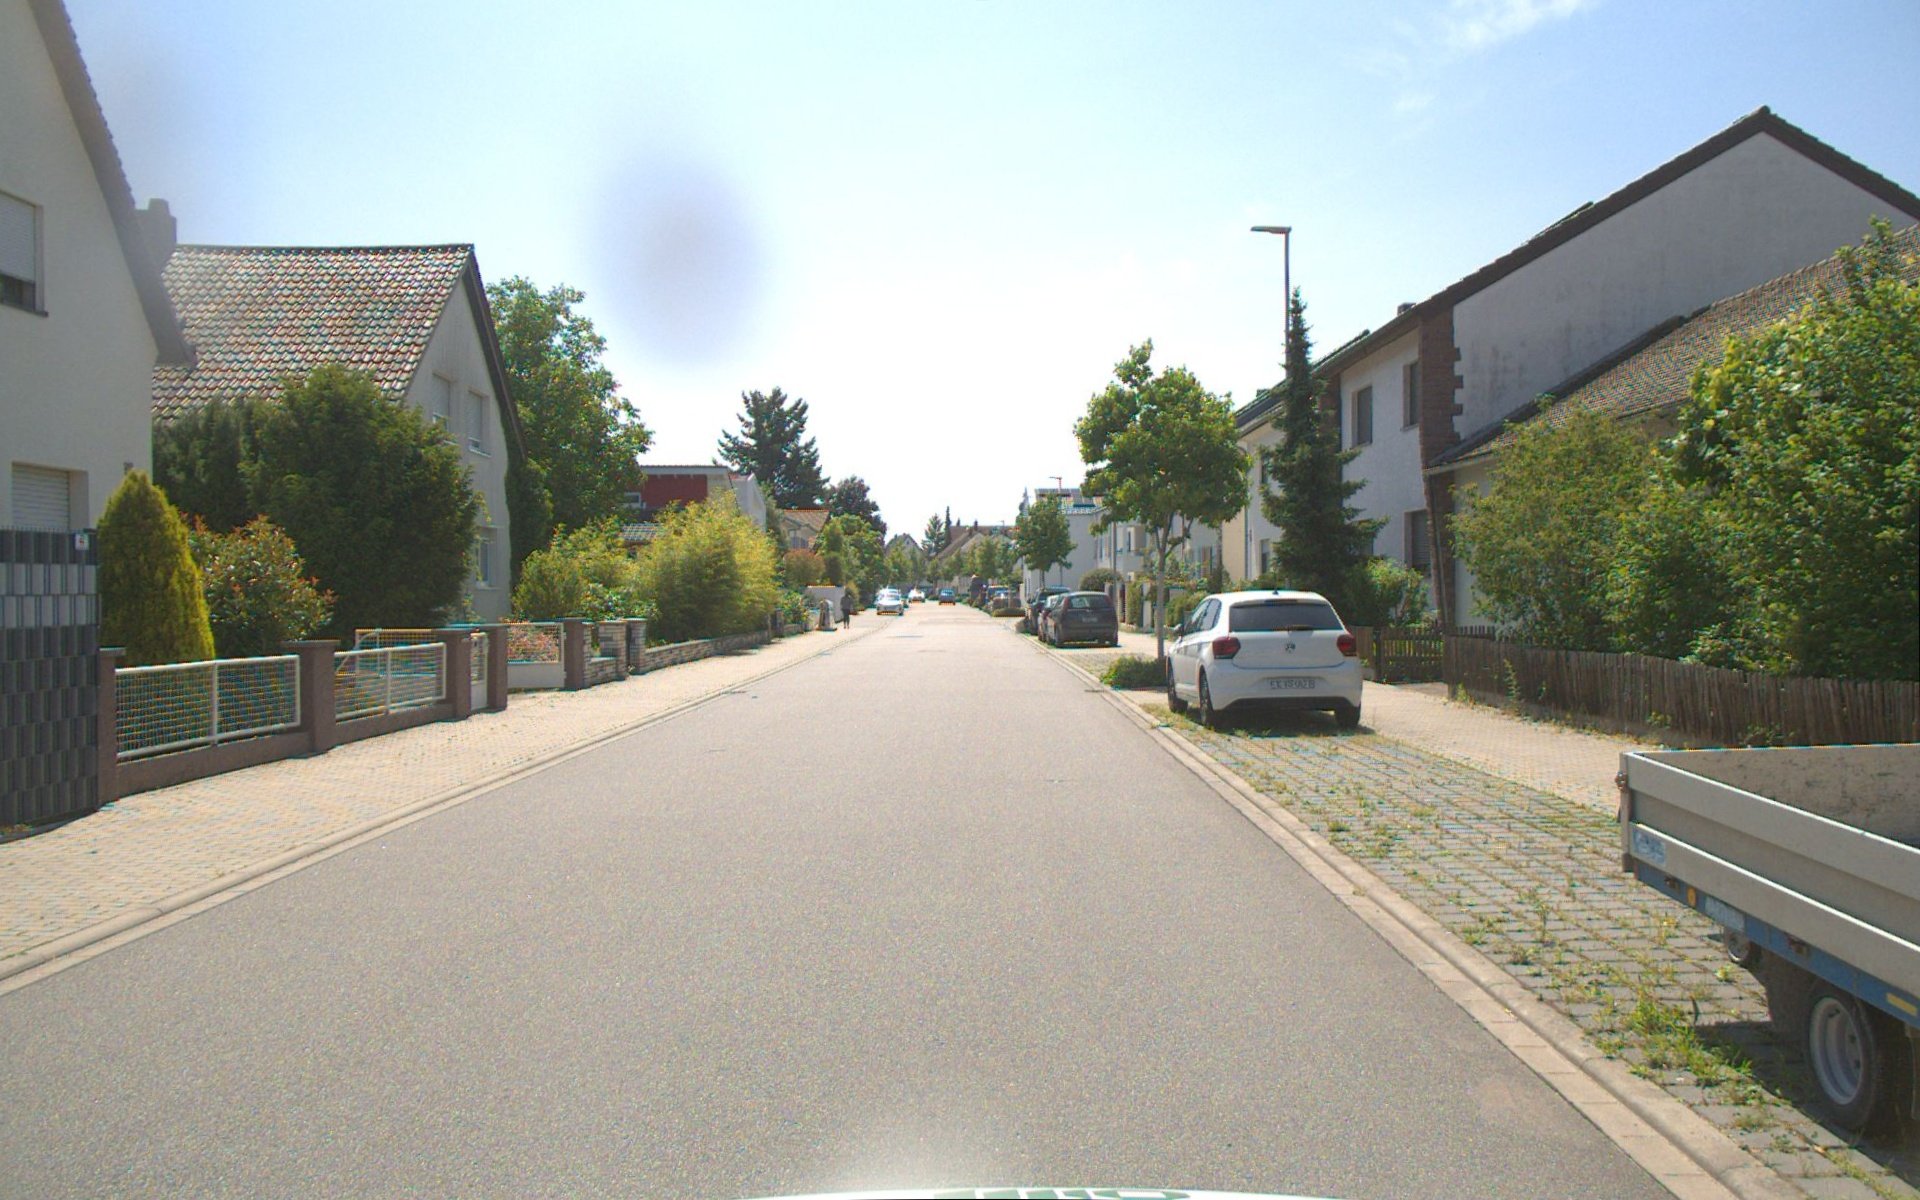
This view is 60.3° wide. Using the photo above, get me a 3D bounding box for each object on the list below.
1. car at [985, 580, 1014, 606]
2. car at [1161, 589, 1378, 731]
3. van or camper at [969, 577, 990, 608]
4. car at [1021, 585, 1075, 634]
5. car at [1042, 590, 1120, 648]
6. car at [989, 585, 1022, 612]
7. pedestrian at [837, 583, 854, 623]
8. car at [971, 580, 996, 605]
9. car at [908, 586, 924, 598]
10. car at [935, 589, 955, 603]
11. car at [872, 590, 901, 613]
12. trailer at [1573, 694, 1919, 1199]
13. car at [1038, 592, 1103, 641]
[{"bbox_3d":[2.862,-0.520,121.729,2.056,1.915,4.843,-1,0,0],"label":"car"},{"bbox_3d":[3.438,0.609,19.046,1.777,1.445,3.868,-1,0,0],"label":"car"},{"bbox_3d":[1.901,-0.756,160.834,1.953,2.993,3.999,-1,0,-1],"label":"van or camper"},{"bbox_3d":[3.257,0.318,61.668,1.777,1.685,4.564,-1,1,0],"label":"car"},{"bbox_3d":[3.355,0.496,46.582,1.706,1.560,4.447,0,0,-2],"label":"car"},{"bbox_3d":[2.878,-0.105,105.084,1.738,1.623,4.277,0,0,-3],"label":"car"},{"bbox_3d":[-5.128,0.149,74.021,0.700,1.777,0.961,0,0,0],"label":"pedestrian"},{"bbox_3d":[1.918,-0.595,136.372,1.953,1.981,5.214,-1,0,0],"label":"car"},{"bbox_3d":[-5.306,-0.964,200.168,1.814,1.504,4.700,0,0,1],"label":"car"},{"bbox_3d":[-1.504,-0.412,168.720,1.952,1.455,4.001,0,0,1],"label":"car"},{"bbox_3d":[-4.993,0.104,113.381,1.814,1.514,4.385,0,0,0],"label":"car"},{"bbox_3d":[3.166,0.907,4.785,1.751,1.077,2.899,-1,0,1],"label":"trailer"},{"bbox_3d":[3.456,0.495,52.377,1.777,1.445,4.093,-1,0,0],"label":"car"}]
